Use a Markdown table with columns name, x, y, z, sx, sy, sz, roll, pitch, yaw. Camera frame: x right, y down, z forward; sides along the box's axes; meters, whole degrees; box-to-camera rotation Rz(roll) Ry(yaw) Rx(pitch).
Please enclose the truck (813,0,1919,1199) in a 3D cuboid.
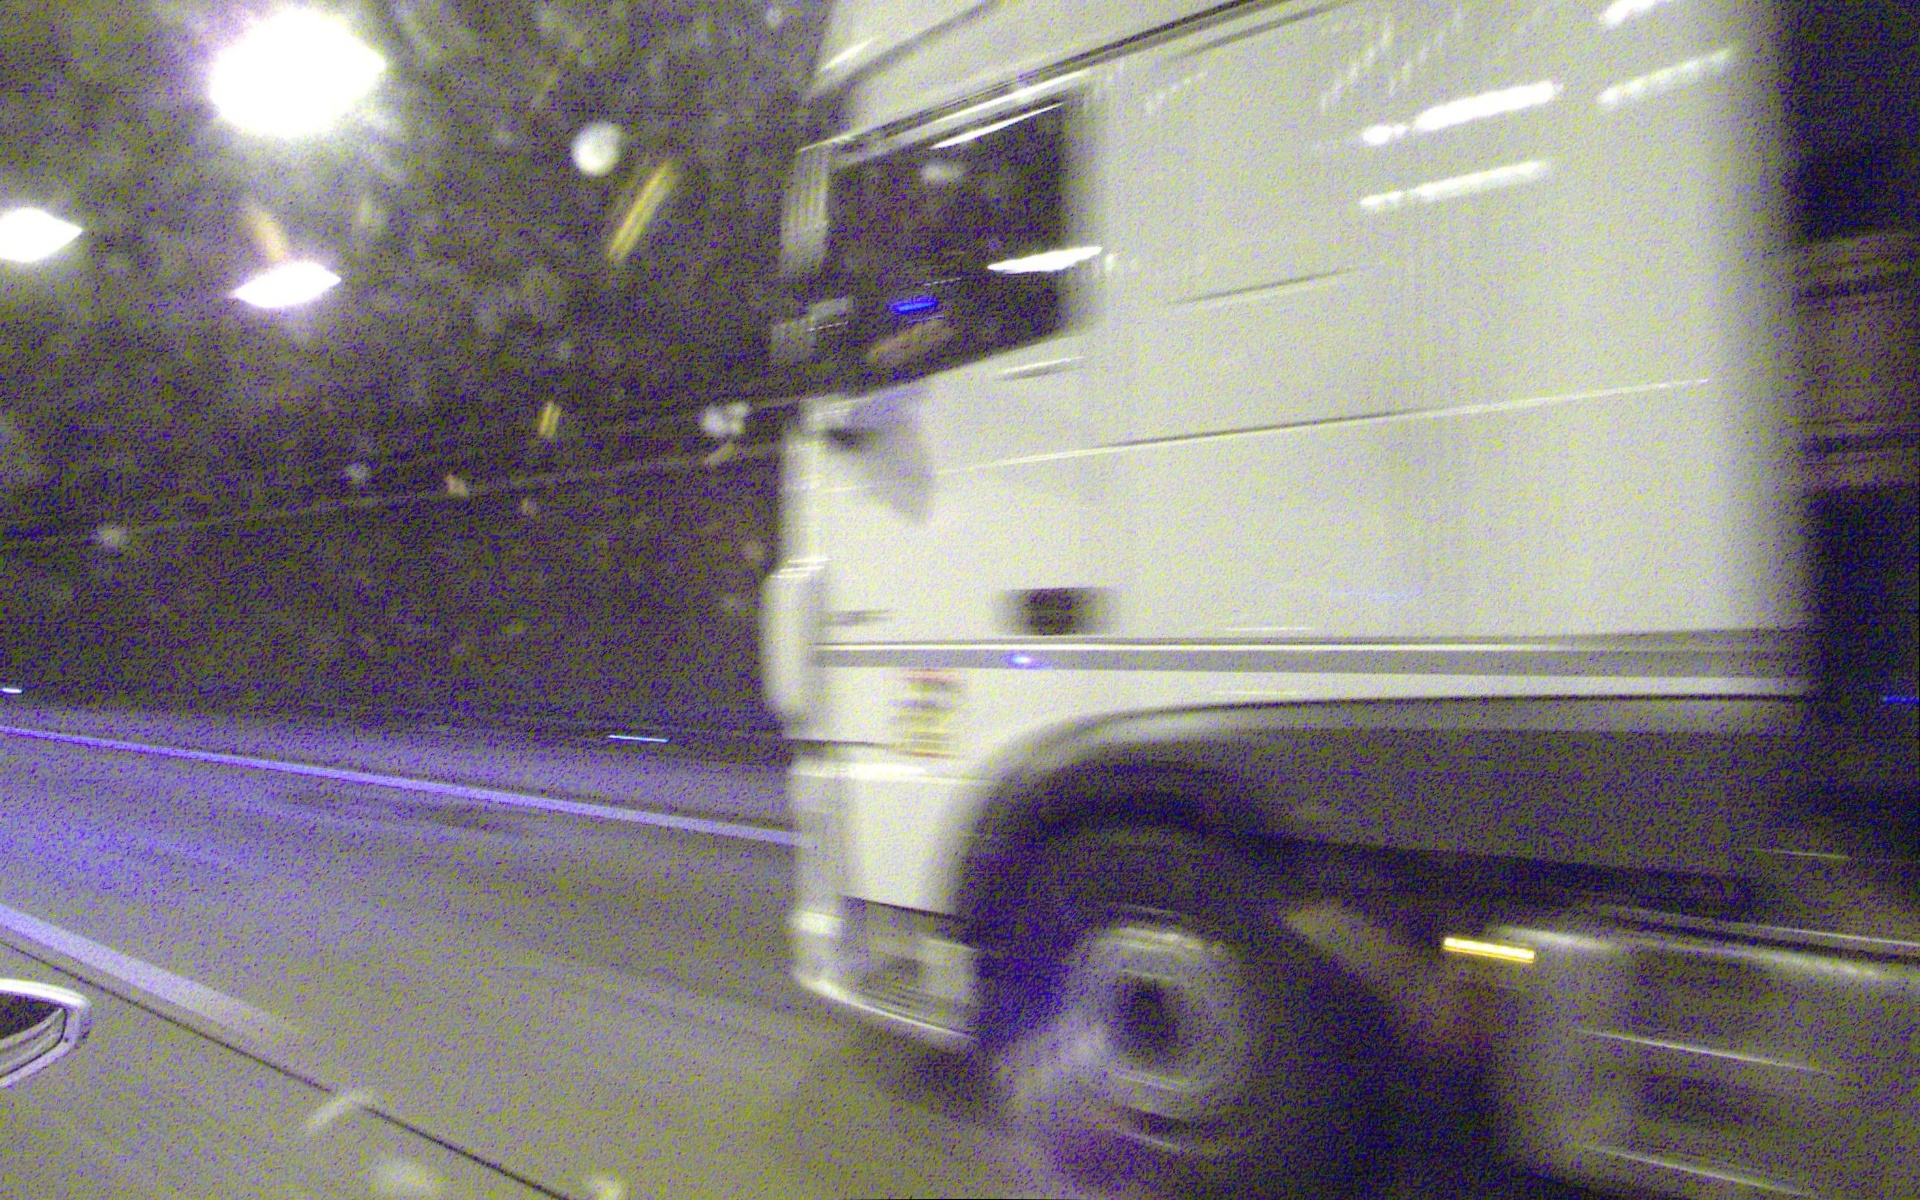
| name | x | y | z | sx | sy | sz | roll | pitch | yaw |
| --- | --- | --- | --- | --- | --- | --- | --- | --- | --- |
| truck | 2.738 | -0.570 | 2.518 | 5.922 | 4.216 | 2.641 | -1 | -2 | 34 |
